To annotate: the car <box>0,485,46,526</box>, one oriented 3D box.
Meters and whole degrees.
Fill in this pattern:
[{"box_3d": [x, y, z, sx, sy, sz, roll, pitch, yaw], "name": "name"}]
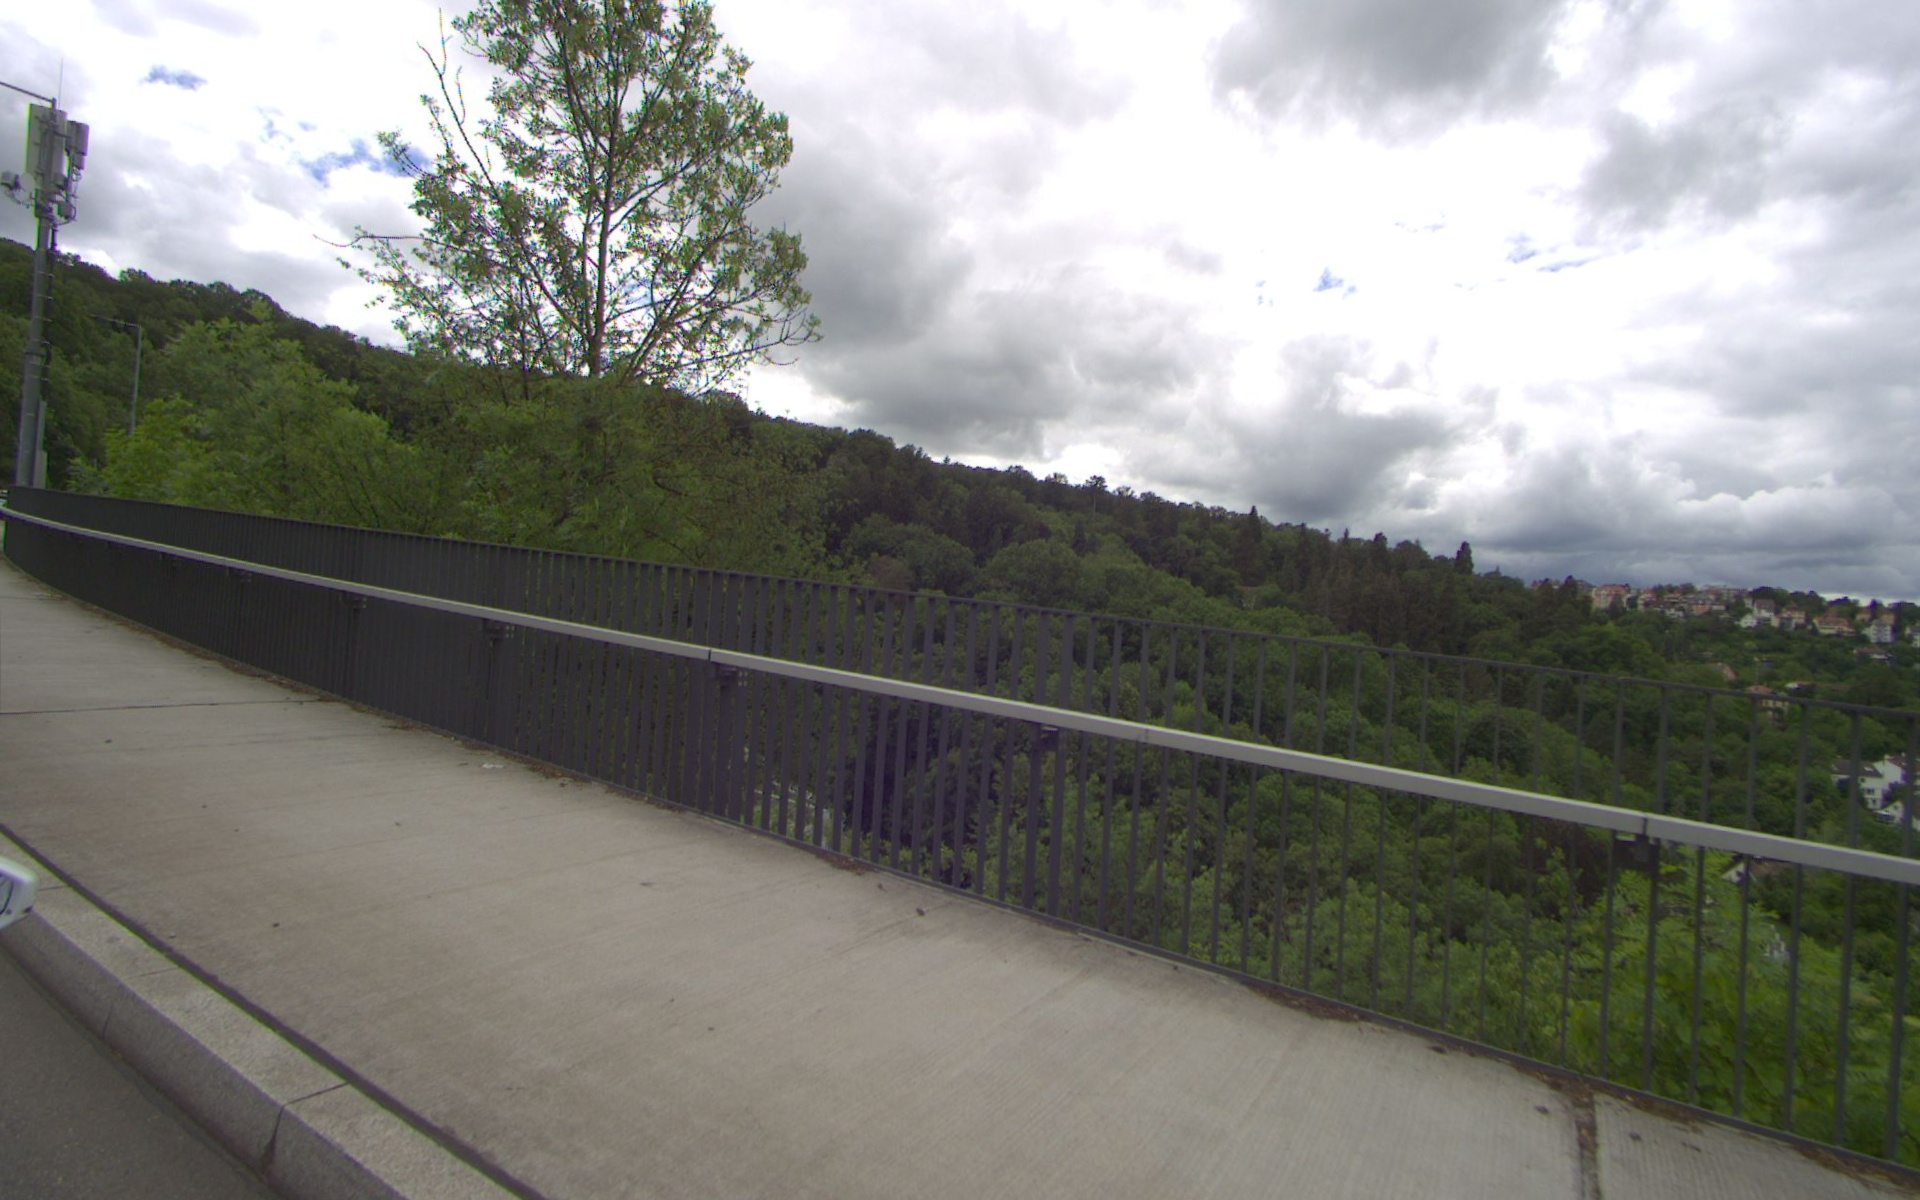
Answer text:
[{"box_3d": [-46.360, -4.663, 49.172, 1.984, 1.737, 3.959, 8, -1, -37], "name": "car"}]
